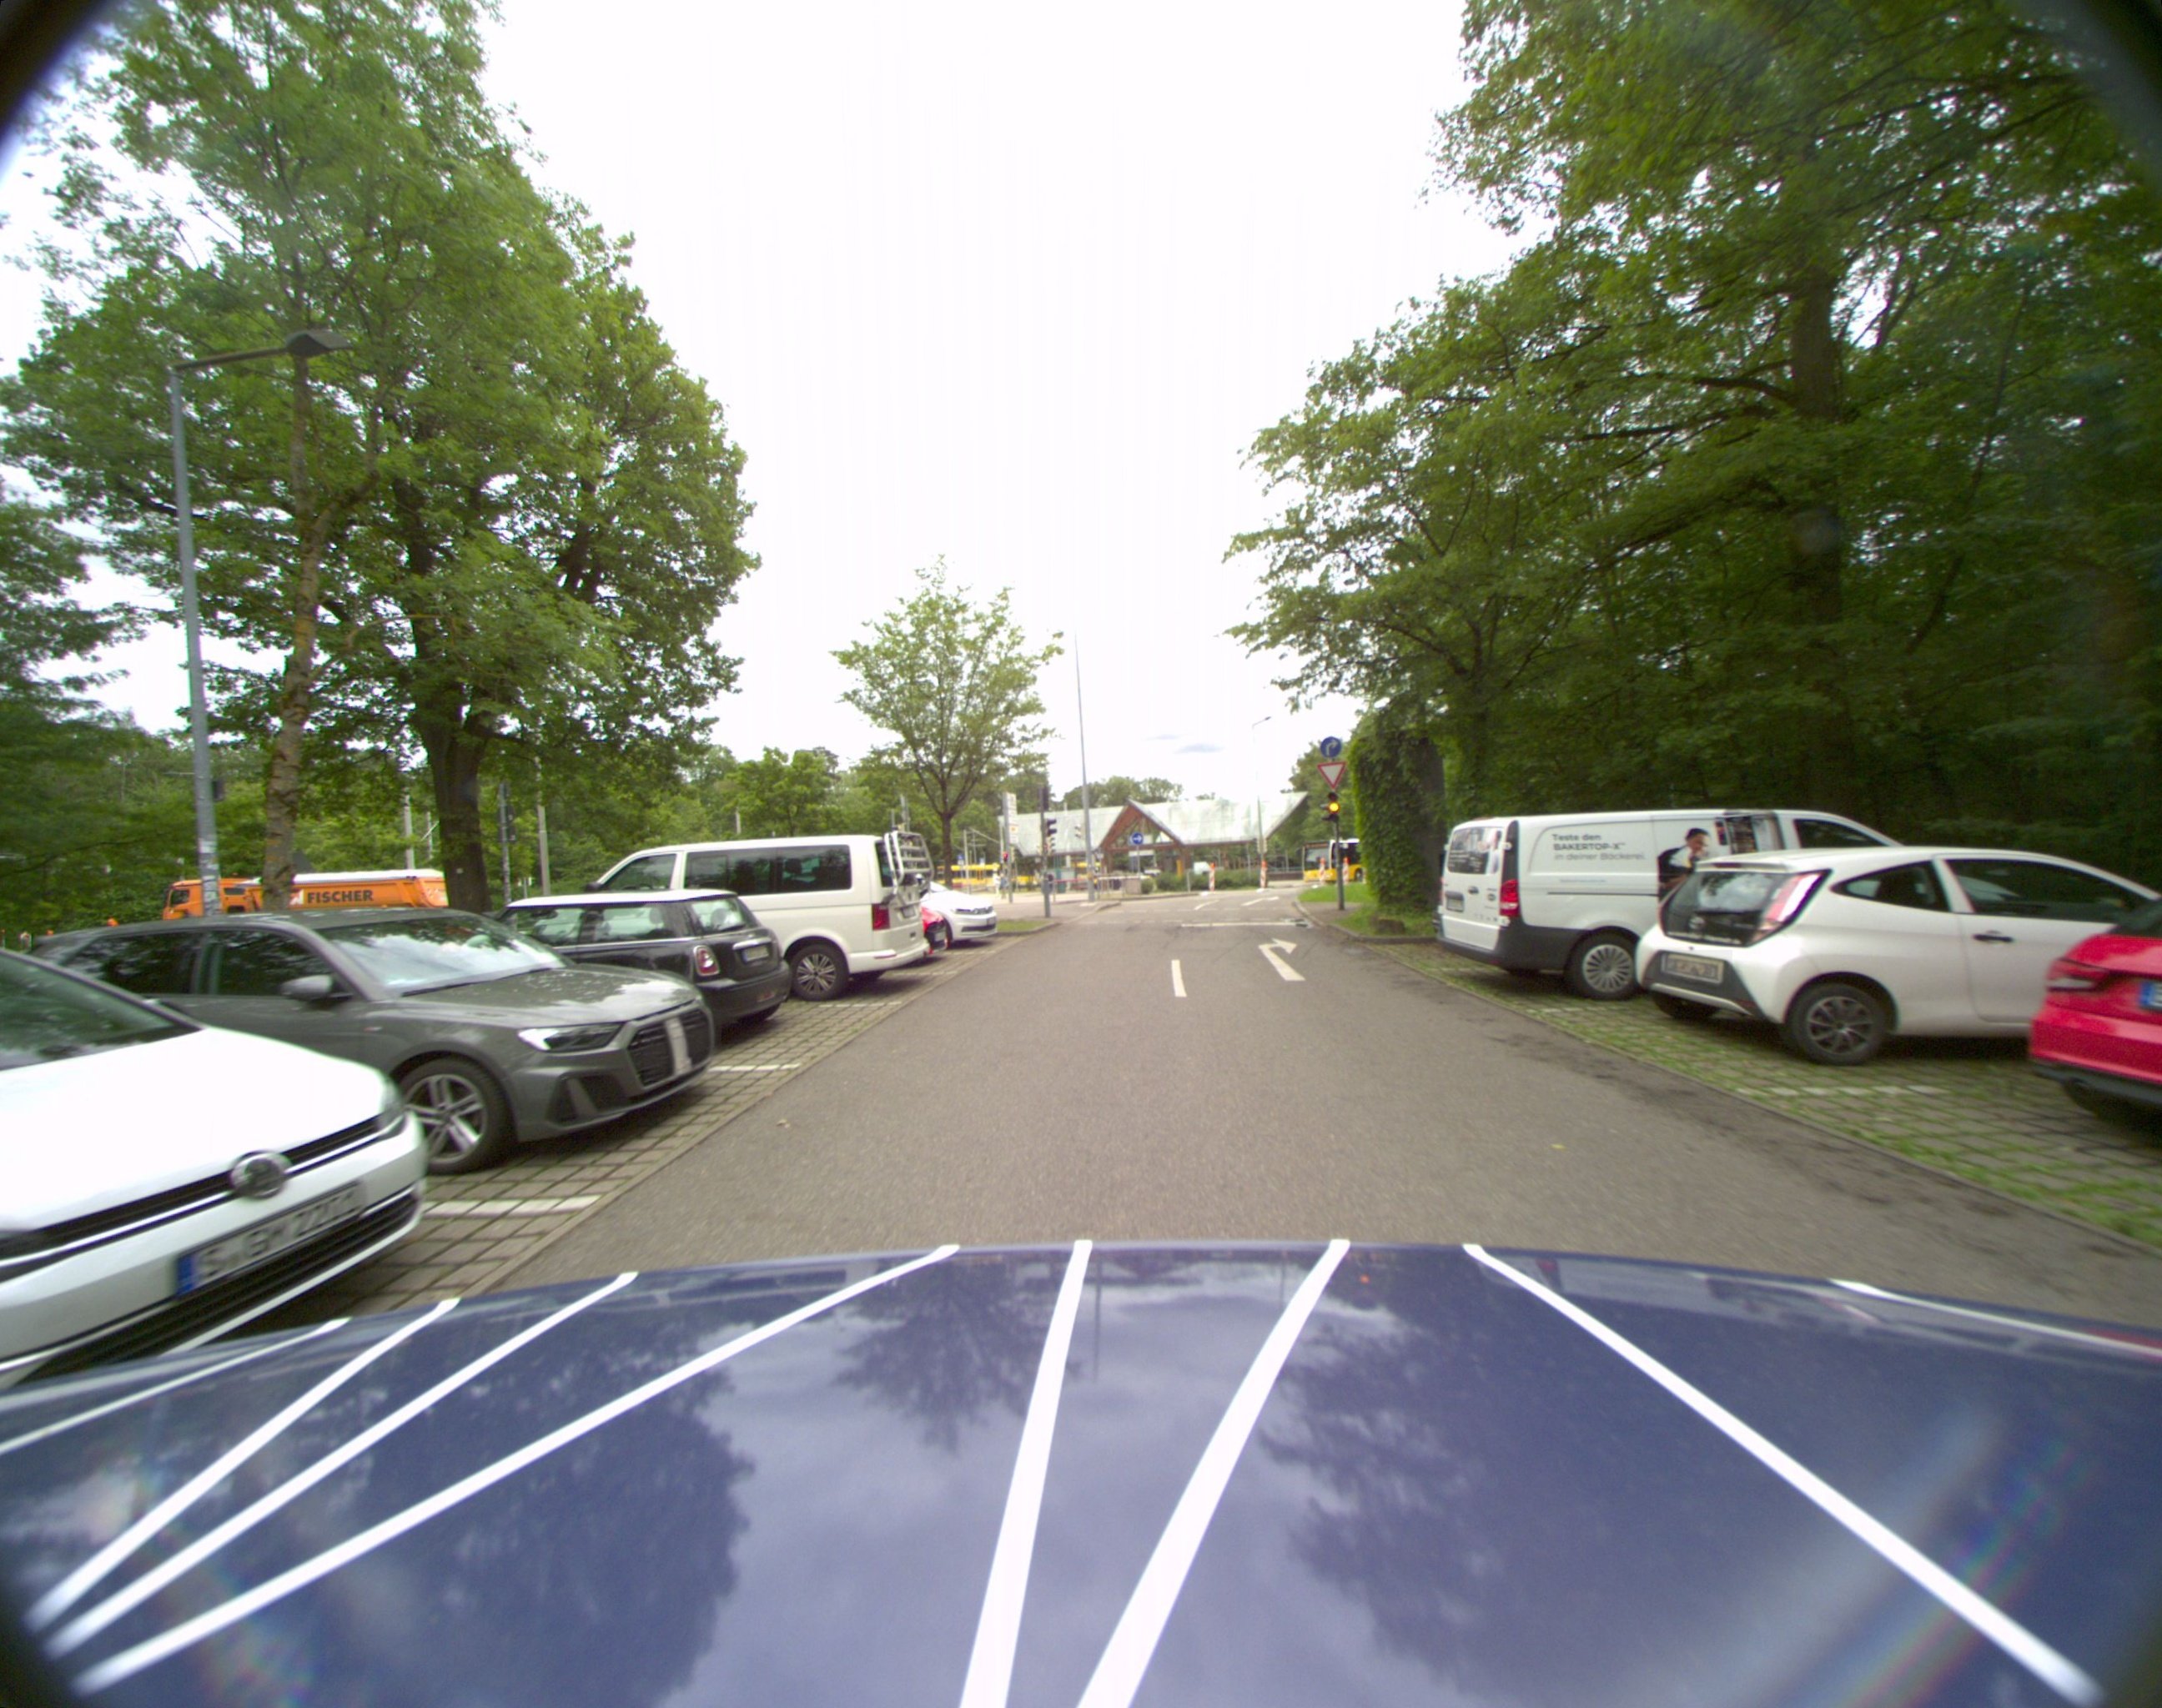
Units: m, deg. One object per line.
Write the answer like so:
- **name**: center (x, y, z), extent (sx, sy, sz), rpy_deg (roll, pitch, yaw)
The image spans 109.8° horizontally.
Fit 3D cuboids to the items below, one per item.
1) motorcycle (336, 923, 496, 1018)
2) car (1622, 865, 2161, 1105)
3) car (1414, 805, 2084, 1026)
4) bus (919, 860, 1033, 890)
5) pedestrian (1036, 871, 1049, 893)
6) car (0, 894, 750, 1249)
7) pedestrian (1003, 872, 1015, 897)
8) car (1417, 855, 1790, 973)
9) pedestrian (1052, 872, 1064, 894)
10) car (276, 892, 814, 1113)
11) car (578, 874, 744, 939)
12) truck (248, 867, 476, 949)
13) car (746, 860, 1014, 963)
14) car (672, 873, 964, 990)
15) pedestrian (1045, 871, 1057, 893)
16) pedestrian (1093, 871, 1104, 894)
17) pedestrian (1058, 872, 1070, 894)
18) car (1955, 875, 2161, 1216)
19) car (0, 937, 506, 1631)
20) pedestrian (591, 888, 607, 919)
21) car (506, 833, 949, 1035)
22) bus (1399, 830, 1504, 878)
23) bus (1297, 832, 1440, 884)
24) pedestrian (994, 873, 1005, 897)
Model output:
- **motorcycle**: center (-10.000, 1.705, 11.550), extent (0.676, 1.153, 2.012), rpy_deg (-3, -1, -2)
- **car**: center (6.193, 0.838, 5.542), extent (3.232, 1.457, 1.656), rpy_deg (-1, -1, 7)
- **car**: center (6.524, 0.606, 8.027), extent (5.096, 1.904, 1.979), rpy_deg (-2, 0, 5)
- **bus**: center (-13.776, 2.723, 103.344), extent (3.969, 3.461, 18.615), rpy_deg (-6, -3, 32)
- **pedestrian**: center (-3.104, 2.242, 61.489), extent (0.732, 1.746, 0.738), rpy_deg (-5, -2, 18)
- **car**: center (-4.541, 1.192, 4.754), extent (3.996, 1.475, 1.877), rpy_deg (-4, 1, 2)
- **pedestrian**: center (-5.322, 2.256, 56.213), extent (0.737, 1.746, 0.668), rpy_deg (-4, -2, -8)
- **car**: center (7.164, 0.807, 10.780), extent (3.995, 1.370, 1.723), rpy_deg (-3, -1, 5)
- **pedestrian**: center (-1.821, 2.317, 60.984), extent (0.601, 1.746, 0.667), rpy_deg (-3, -2, -31)
- **car**: center (-4.771, 1.275, 7.168), extent (3.731, 1.545, 1.847), rpy_deg (-4, -2, 2)
- **car**: center (-13.852, 1.732, 25.416), extent (4.583, 1.739, 1.997), rpy_deg (-3, -3, -23)
- **truck**: center (-35.070, 2.581, 37.309), extent (8.242, 3.493, 2.868), rpy_deg (-3, -1, -1)
- **car**: center (-3.831, 1.085, 14.937), extent (4.528, 1.683, 2.167), rpy_deg (-3, 0, 10)
- **car**: center (-4.216, 1.221, 12.482), extent (4.004, 1.546, 1.948), rpy_deg (-4, -1, 11)
- **pedestrian**: center (-2.423, 2.257, 61.303), extent (0.670, 1.746, 0.560), rpy_deg (-2, -3, -44)
- **pedestrian**: center (1.331, 2.235, 59.462), extent (0.656, 1.746, 0.668), rpy_deg (-4, -2, -7)
- **pedestrian**: center (-1.338, 2.320, 61.367), extent (0.601, 1.746, 0.667), rpy_deg (-3, -2, -31)
- **car**: center (6.681, 0.801, 3.140), extent (3.997, 1.436, 1.823), rpy_deg (-2, 0, 1)
- **car**: center (-4.880, 1.178, 2.405), extent (4.782, 1.467, 1.853), rpy_deg (-3, -1, 4)
- **pedestrian**: center (-36.761, 3.769, 57.962), extent (0.864, 2.280, 0.616), rpy_deg (-3, -2, -36)
- **car**: center (-4.336, 0.974, 9.842), extent (4.659, 2.008, 2.084), rpy_deg (-5, -2, 4)
- **bus**: center (27.914, -0.018, 57.159), extent (7.767, 3.139, 2.807), rpy_deg (-2, -2, -27)
- **bus**: center (19.962, 0.243, 52.543), extent (10.532, 3.139, 2.807), rpy_deg (-2, -2, -28)
- **pedestrian**: center (-5.984, 2.276, 55.796), extent (0.736, 1.746, 0.668), rpy_deg (-4, -2, -7)
